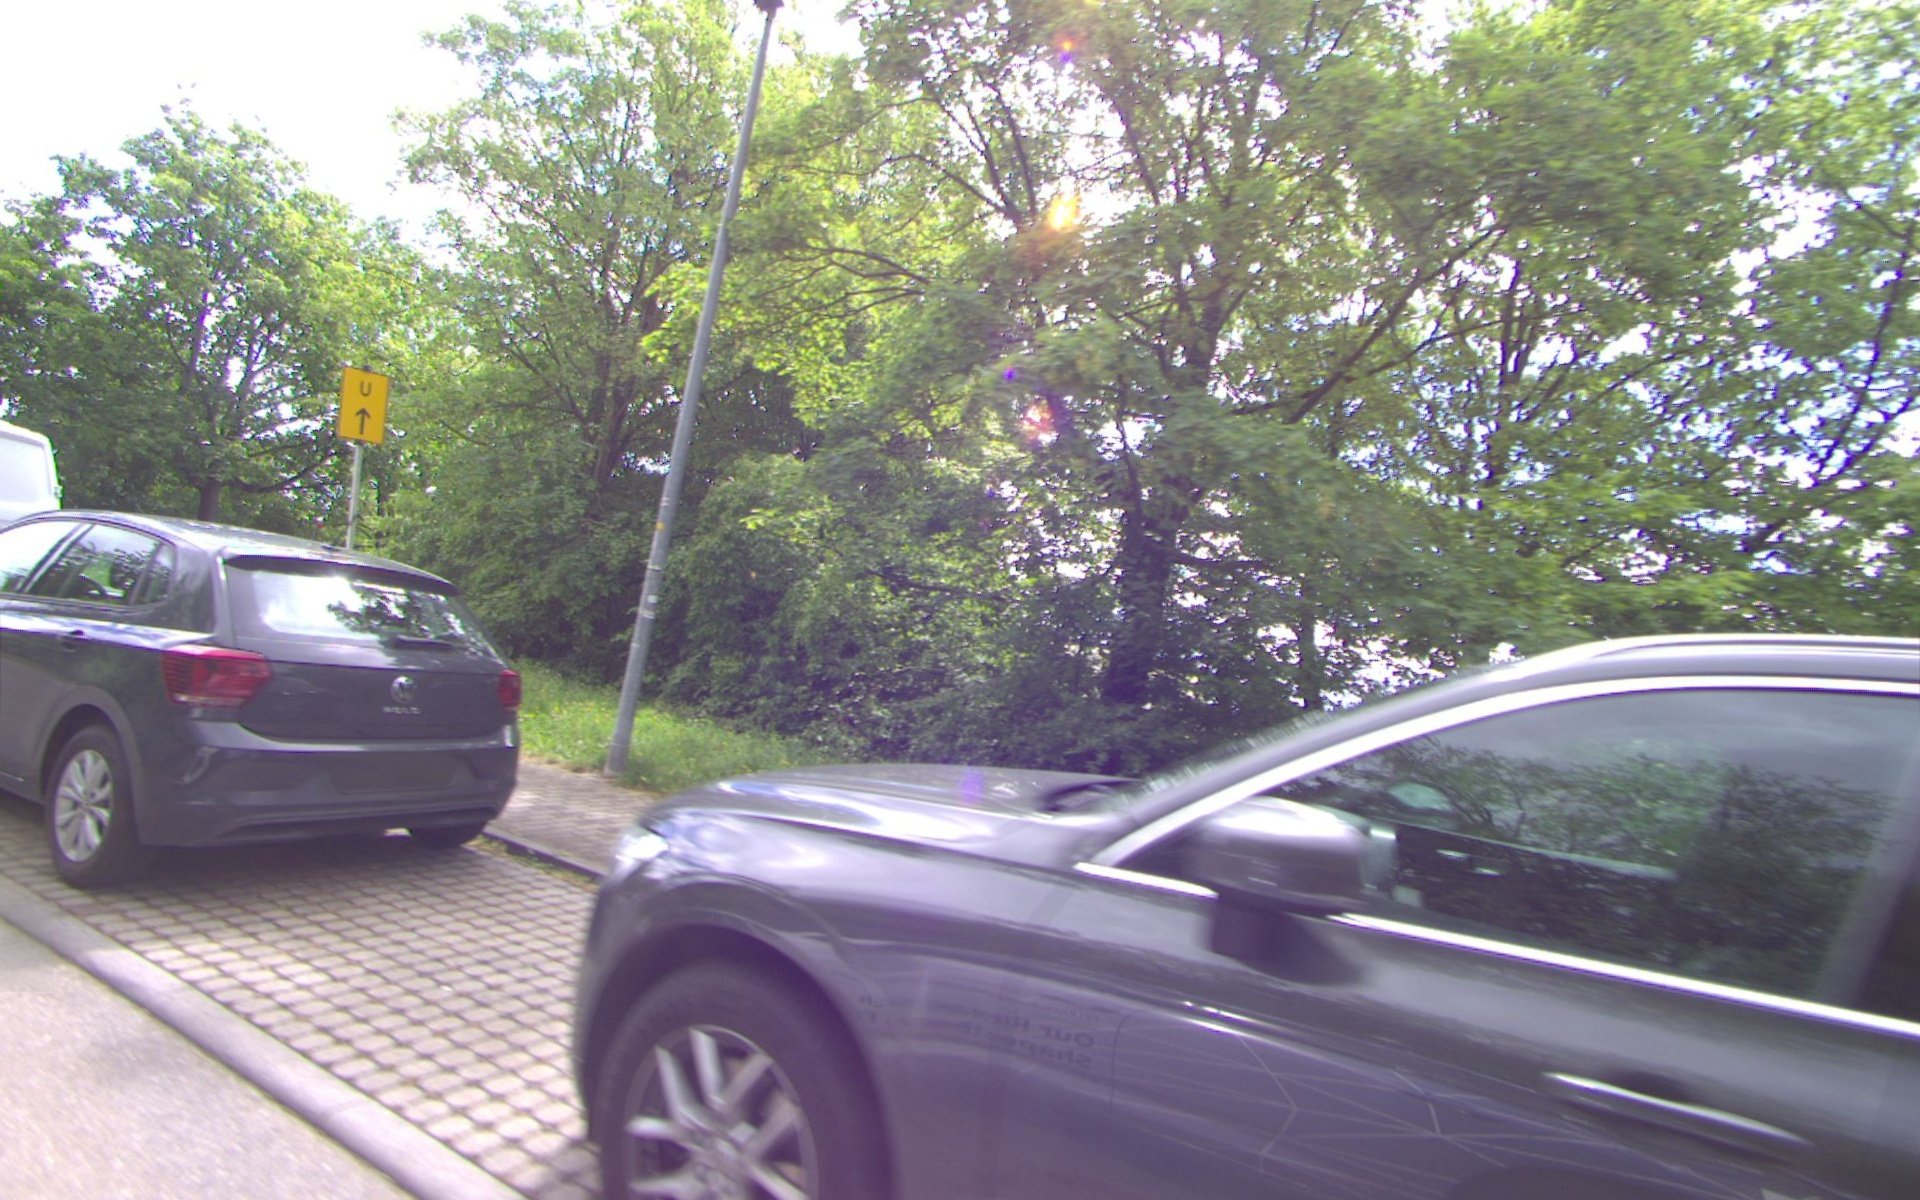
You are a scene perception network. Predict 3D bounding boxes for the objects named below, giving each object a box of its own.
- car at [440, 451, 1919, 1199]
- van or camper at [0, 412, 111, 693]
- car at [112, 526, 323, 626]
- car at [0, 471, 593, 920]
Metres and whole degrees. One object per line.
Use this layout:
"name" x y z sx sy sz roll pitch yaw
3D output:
"car" 1.172 0.796 2.139 4.206 1.645 1.998 7 -1 31
"van or camper" -9.254 -0.711 7.690 5.170 1.941 2.002 8 -2 24
"car" -20.249 -0.595 27.654 1.964 1.608 4.015 9 -8 25
"car" -4.090 0.272 5.168 3.930 1.479 1.805 7 -4 28
